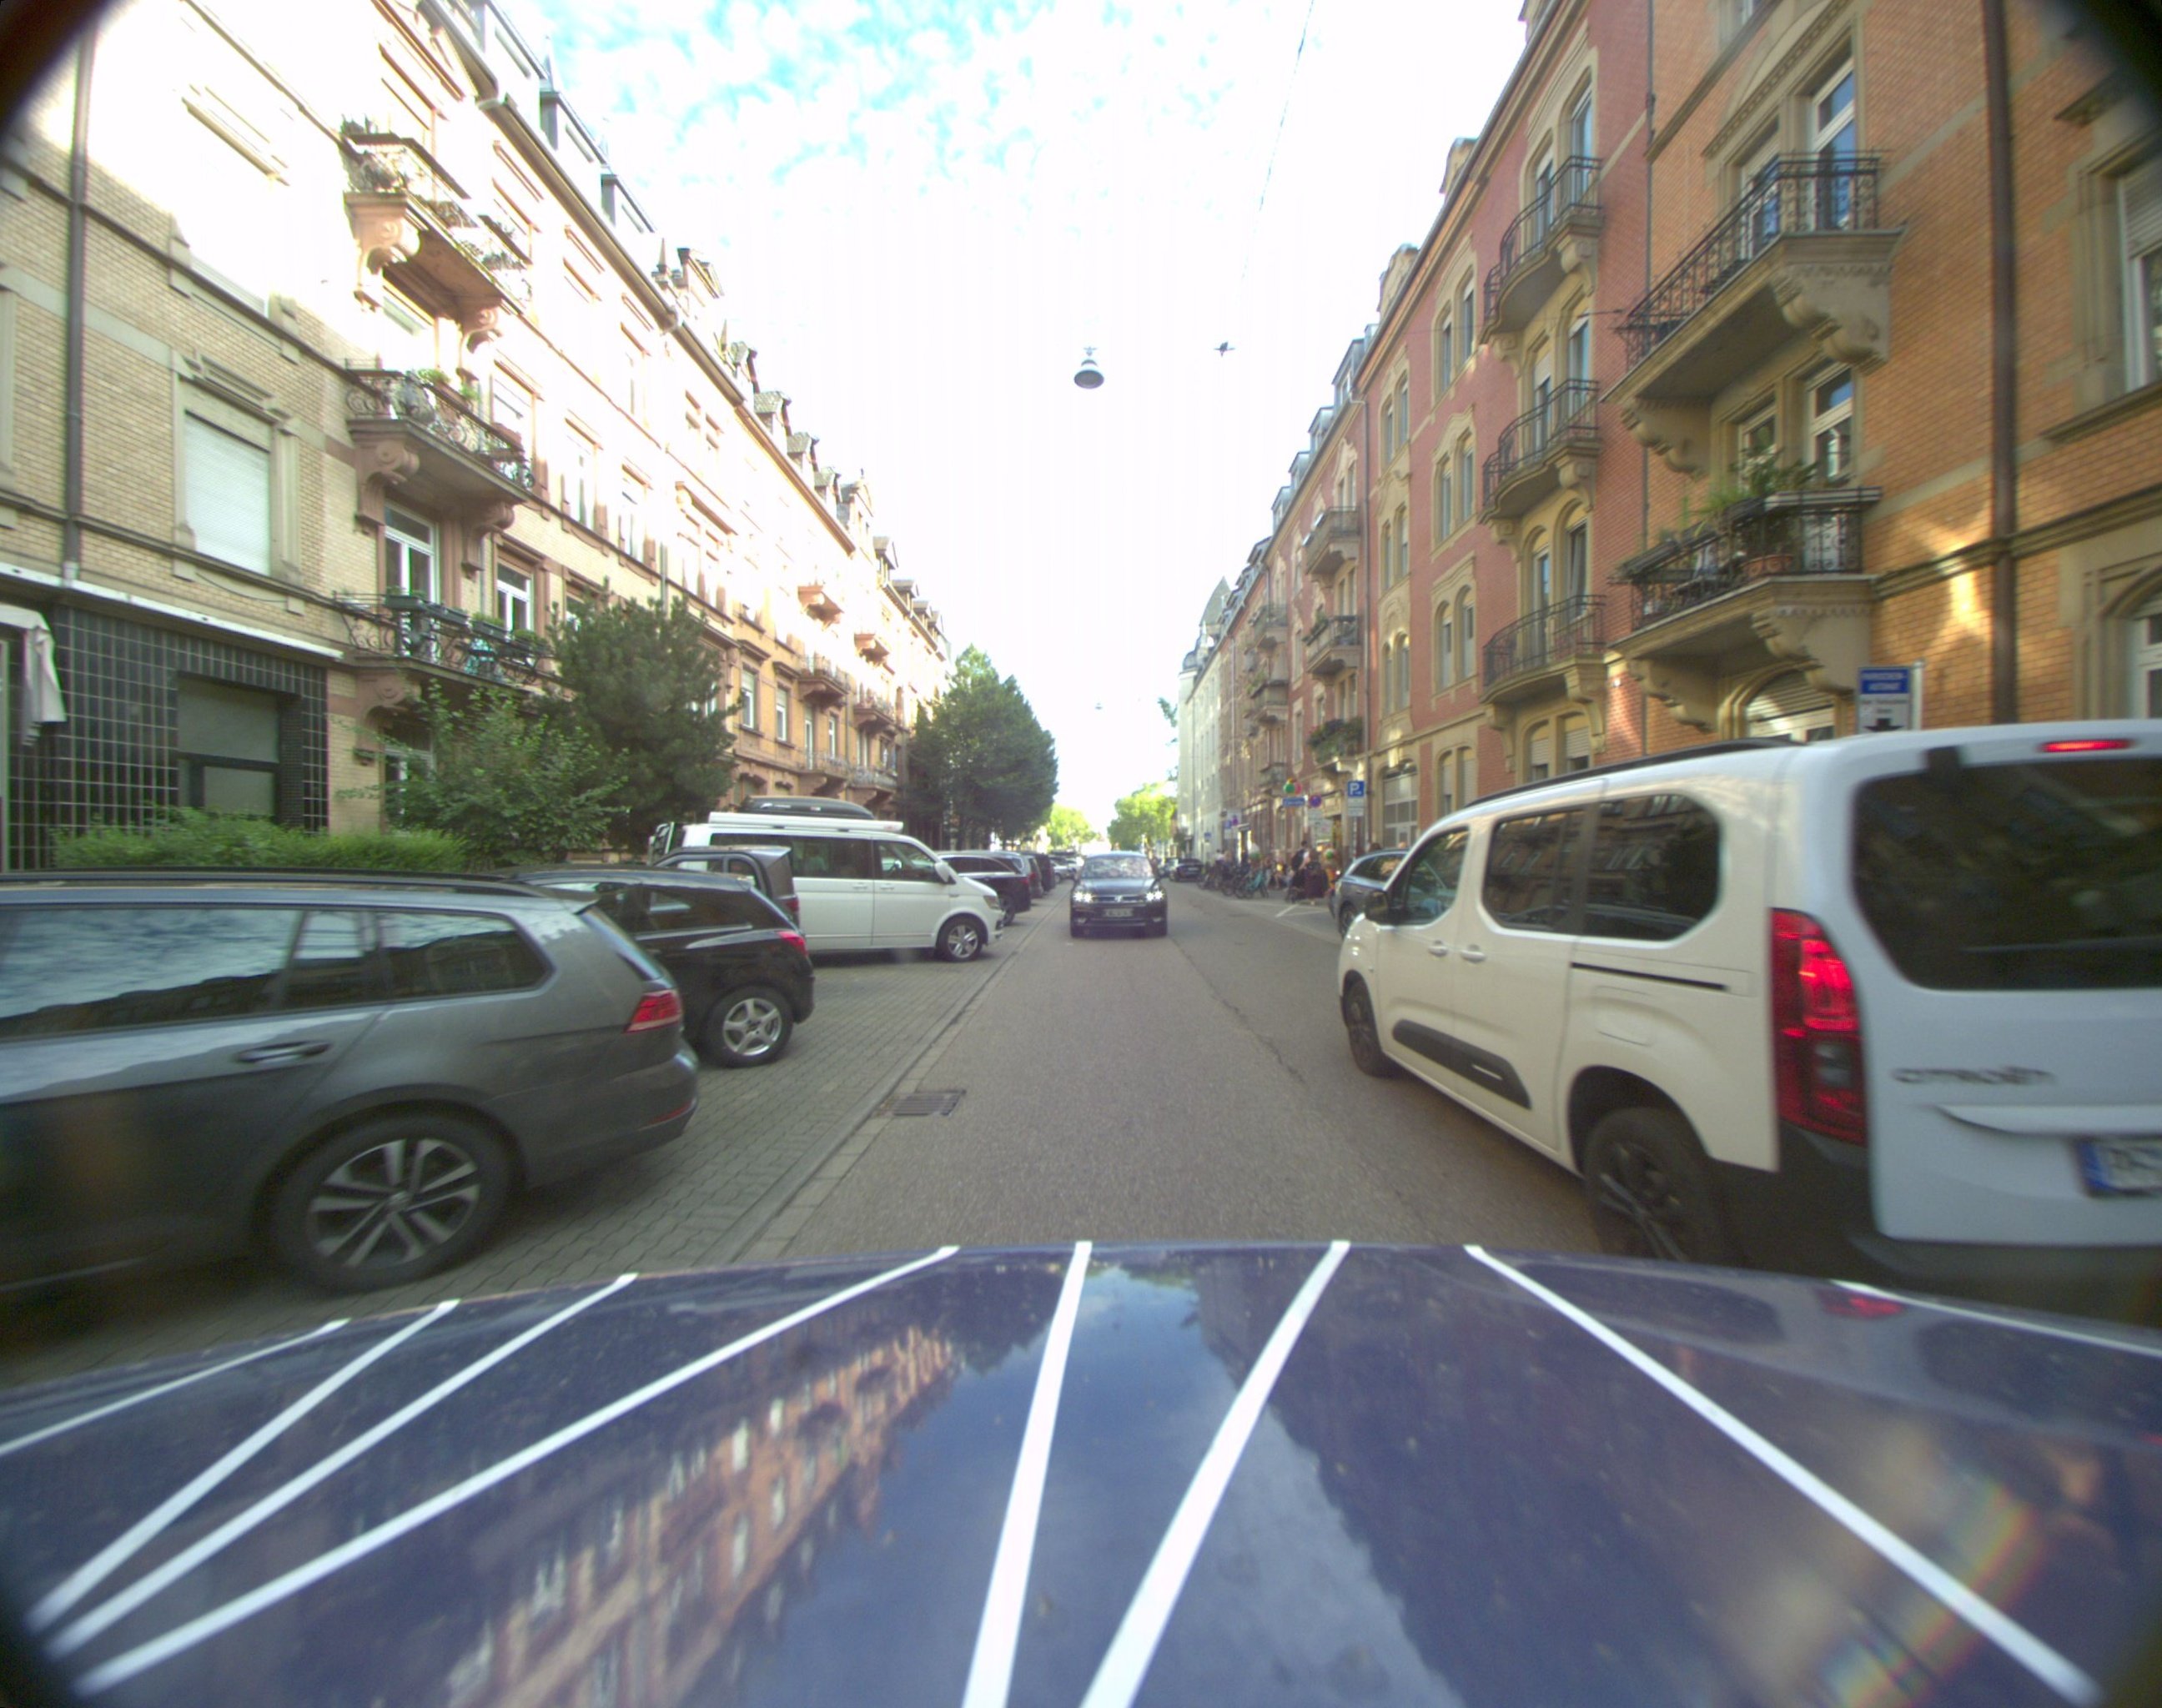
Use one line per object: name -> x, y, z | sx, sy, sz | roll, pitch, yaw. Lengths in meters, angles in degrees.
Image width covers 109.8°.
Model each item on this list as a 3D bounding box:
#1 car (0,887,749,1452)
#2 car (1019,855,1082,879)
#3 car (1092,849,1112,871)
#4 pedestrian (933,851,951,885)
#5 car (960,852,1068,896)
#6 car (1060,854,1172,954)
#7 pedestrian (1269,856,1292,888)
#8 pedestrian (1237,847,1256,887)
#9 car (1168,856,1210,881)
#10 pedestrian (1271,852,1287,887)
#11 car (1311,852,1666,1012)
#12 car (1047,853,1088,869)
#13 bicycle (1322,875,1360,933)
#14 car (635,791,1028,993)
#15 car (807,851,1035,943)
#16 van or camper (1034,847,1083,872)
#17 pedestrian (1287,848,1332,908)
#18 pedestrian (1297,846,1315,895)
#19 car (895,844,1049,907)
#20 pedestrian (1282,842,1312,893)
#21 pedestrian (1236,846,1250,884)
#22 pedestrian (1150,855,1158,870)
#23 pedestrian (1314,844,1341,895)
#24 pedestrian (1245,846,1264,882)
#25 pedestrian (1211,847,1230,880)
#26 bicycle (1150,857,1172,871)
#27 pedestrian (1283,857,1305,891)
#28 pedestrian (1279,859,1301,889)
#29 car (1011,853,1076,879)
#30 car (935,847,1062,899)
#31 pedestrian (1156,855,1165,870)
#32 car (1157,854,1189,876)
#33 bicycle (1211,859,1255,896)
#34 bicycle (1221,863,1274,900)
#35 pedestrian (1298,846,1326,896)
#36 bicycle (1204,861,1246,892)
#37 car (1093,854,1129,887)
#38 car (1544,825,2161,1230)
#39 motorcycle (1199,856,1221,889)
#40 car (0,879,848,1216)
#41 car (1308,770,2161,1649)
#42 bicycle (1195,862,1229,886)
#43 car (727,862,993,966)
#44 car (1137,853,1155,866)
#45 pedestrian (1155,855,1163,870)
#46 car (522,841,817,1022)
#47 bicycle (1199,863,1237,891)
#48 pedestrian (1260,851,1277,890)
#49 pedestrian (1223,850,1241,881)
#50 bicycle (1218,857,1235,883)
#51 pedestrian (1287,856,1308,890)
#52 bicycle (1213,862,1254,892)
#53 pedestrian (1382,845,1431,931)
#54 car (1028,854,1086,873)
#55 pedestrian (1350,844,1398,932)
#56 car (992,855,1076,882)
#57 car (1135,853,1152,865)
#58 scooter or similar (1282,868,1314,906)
car -> -3.790, 0.886, 2.616 | 4.479, 1.468, 1.884 | 3, -2, -38
car -> -2.140, 0.909, 54.000 | 4.133, 1.512, 1.840 | -2, 1, -35
car -> 2.022, 0.539, 72.114 | 1.810, 1.914, 4.001 | -2, 0, 3
pedestrian -> -6.833, 0.688, 37.405 | 0.733, 1.625, 0.833 | 1, 1, -1
car -> -2.769, 0.800, 31.507 | 4.007, 1.731, 1.835 | 1, 0, -29
car -> 0.797, 0.855, 15.091 | 1.874, 1.644, 4.388 | -1, 0, 5
pedestrian -> 8.191, 0.739, 31.186 | 0.725, 1.306, 0.606 | -1, 1, -2
pedestrian -> 7.758, 0.602, 35.540 | 0.646, 1.881, 0.602 | -1, 1, 32
car -> 6.280, 0.809, 44.672 | 1.816, 1.343, 5.115 | -1, 0, 1
pedestrian -> 8.406, 0.646, 32.215 | 0.605, 1.461, 0.726 | -1, 1, 12
car -> 4.926, 0.783, 10.311 | 1.830, 1.569, 5.262 | -2, 0, -2
car -> -1.506, 0.786, 83.858 | 4.006, 1.663, 1.923 | -2, 0, -30
bicycle -> 5.497, 1.016, 16.009 | 0.482, 1.053, 1.907 | -2, 1, 26
car -> -3.527, 0.472, 11.136 | 5.169, 2.391, 1.913 | 1, 0, -31
car -> -3.458, 0.837, 16.723 | 4.465, 1.722, 1.995 | -1, 0, -33
van or camper -> -2.091, 0.515, 70.004 | 4.006, 2.166, 1.995 | -2, 0, -29
pedestrian -> 6.491, 0.674, 21.611 | 0.914, 1.651, 0.827 | -2, 1, -7
pedestrian -> 7.992, 0.583, 27.008 | 0.564, 1.686, 0.648 | -2, 1, 16
car -> -3.426, 0.693, 24.593 | 4.648, 1.774, 1.810 | 2, -2, 0
pedestrian -> 7.972, 0.488, 28.059 | 0.764, 1.843, 0.664 | -2, 1, -29
pedestrian -> 7.681, 0.513, 36.067 | 0.605, 1.741, 0.726 | -1, 1, 12
pedestrian -> 6.631, 0.798, 69.049 | 0.738, 1.341, 0.644 | -1, 1, 4
pedestrian -> 8.351, 0.523, 25.767 | 0.665, 1.686, 0.763 | -2, 1, 2
pedestrian -> 8.428, 0.490, 36.937 | 0.688, 1.749, 0.667 | -1, 1, 32
pedestrian -> 7.726, 0.543, 42.051 | 0.761, 1.808, 0.667 | -1, 1, 32
bicycle -> 7.097, 0.852, 67.330 | 1.872, 1.168, 0.688 | -1, 1, 3
pedestrian -> 8.406, 0.768, 29.982 | 0.719, 1.306, 0.439 | -1, 1, -2
pedestrian -> 8.388, 0.803, 30.504 | 0.710, 1.189, 0.586 | -1, 1, -2
car -> -2.505, 0.771, 51.178 | 4.007, 1.689, 1.848 | 0, -1, -33
car -> -3.106, 0.717, 28.867 | 4.411, 1.812, 1.751 | 2, 1, -30
pedestrian -> 7.163, 0.745, 68.455 | 0.689, 1.365, 0.740 | -1, 1, 5
car -> 6.533, 0.762, 54.533 | 1.674, 1.407, 4.011 | -2, 0, -2
bicycle -> 5.639, 0.855, 28.171 | 1.680, 1.314, 0.526 | -2, 1, -34
bicycle -> 5.728, 0.931, 26.007 | 0.806, 1.152, 2.274 | -1, 0, 39
pedestrian -> 7.975, 0.570, 26.232 | 0.667, 1.686, 0.584 | -2, 1, -29
bicycle -> 5.958, 0.911, 31.358 | 1.794, 1.193, 0.589 | -2, 0, -34
car -> 1.666, 0.870, 41.813 | 1.810, 1.622, 4.001 | -2, 0, 3
car -> 5.331, 0.707, 4.638 | 1.878, 1.671, 4.894 | -2, -1, -2
motorcycle -> 5.783, 0.796, 33.880 | 0.708, 1.376, 2.026 | -2, 0, 16
car -> -3.925, 0.935, 5.317 | 4.003, 1.451, 1.746 | 1, 0, -40
car -> 2.698, 0.720, 3.766 | 1.922, 1.817, 4.438 | -1, 0, 2
bicycle -> 6.281, 0.953, 36.485 | 1.577, 1.110, 0.375 | -1, 1, 40
car -> -3.936, 0.976, 13.774 | 4.245, 1.540, 1.869 | -1, -1, -33
car -> 7.756, 0.642, 90.966 | 1.828, 1.477, 4.170 | -1, 0, 2
pedestrian -> 7.194, 0.757, 69.830 | 0.668, 1.328, 0.740 | -1, 1, 8
car -> -4.210, 0.777, 8.066 | 2.472, 1.656, 1.344 | 3, -2, -25
bicycle -> 5.759, 0.950, 31.980 | 1.573, 1.114, 0.589 | -2, 0, -35
pedestrian -> 7.837, 0.670, 31.774 | 0.554, 1.607, 0.584 | -2, 1, 2
pedestrian -> 8.426, 0.639, 42.508 | 0.761, 1.749, 0.667 | -1, 1, 32
bicycle -> 6.460, 0.711, 33.640 | 0.579, 1.084, 1.740 | -2, 0, 15
pedestrian -> 8.423, 0.739, 29.570 | 0.703, 1.306, 0.373 | -1, 1, -2
bicycle -> 6.175, 0.926, 30.764 | 1.741, 1.114, 0.554 | -2, 0, -34
pedestrian -> 6.460, 0.653, 15.085 | 0.682, 1.651, 0.550 | -2, 1, -28
car -> -2.086, 0.815, 67.462 | 4.816, 1.535, 1.866 | 2, 0, -30
pedestrian -> 5.872, 0.664, 15.233 | 0.566, 1.699, 0.666 | -2, 1, -33
car -> -2.742, 0.870, 44.903 | 4.620, 1.443, 1.788 | 2, 0, -30
car -> 7.925, 0.638, 97.050 | 1.911, 1.412, 4.000 | -1, 0, 2
scooter or similar -> 6.420, 0.965, 22.541 | 0.607, 1.049, 0.922 | -2, 0, -4
